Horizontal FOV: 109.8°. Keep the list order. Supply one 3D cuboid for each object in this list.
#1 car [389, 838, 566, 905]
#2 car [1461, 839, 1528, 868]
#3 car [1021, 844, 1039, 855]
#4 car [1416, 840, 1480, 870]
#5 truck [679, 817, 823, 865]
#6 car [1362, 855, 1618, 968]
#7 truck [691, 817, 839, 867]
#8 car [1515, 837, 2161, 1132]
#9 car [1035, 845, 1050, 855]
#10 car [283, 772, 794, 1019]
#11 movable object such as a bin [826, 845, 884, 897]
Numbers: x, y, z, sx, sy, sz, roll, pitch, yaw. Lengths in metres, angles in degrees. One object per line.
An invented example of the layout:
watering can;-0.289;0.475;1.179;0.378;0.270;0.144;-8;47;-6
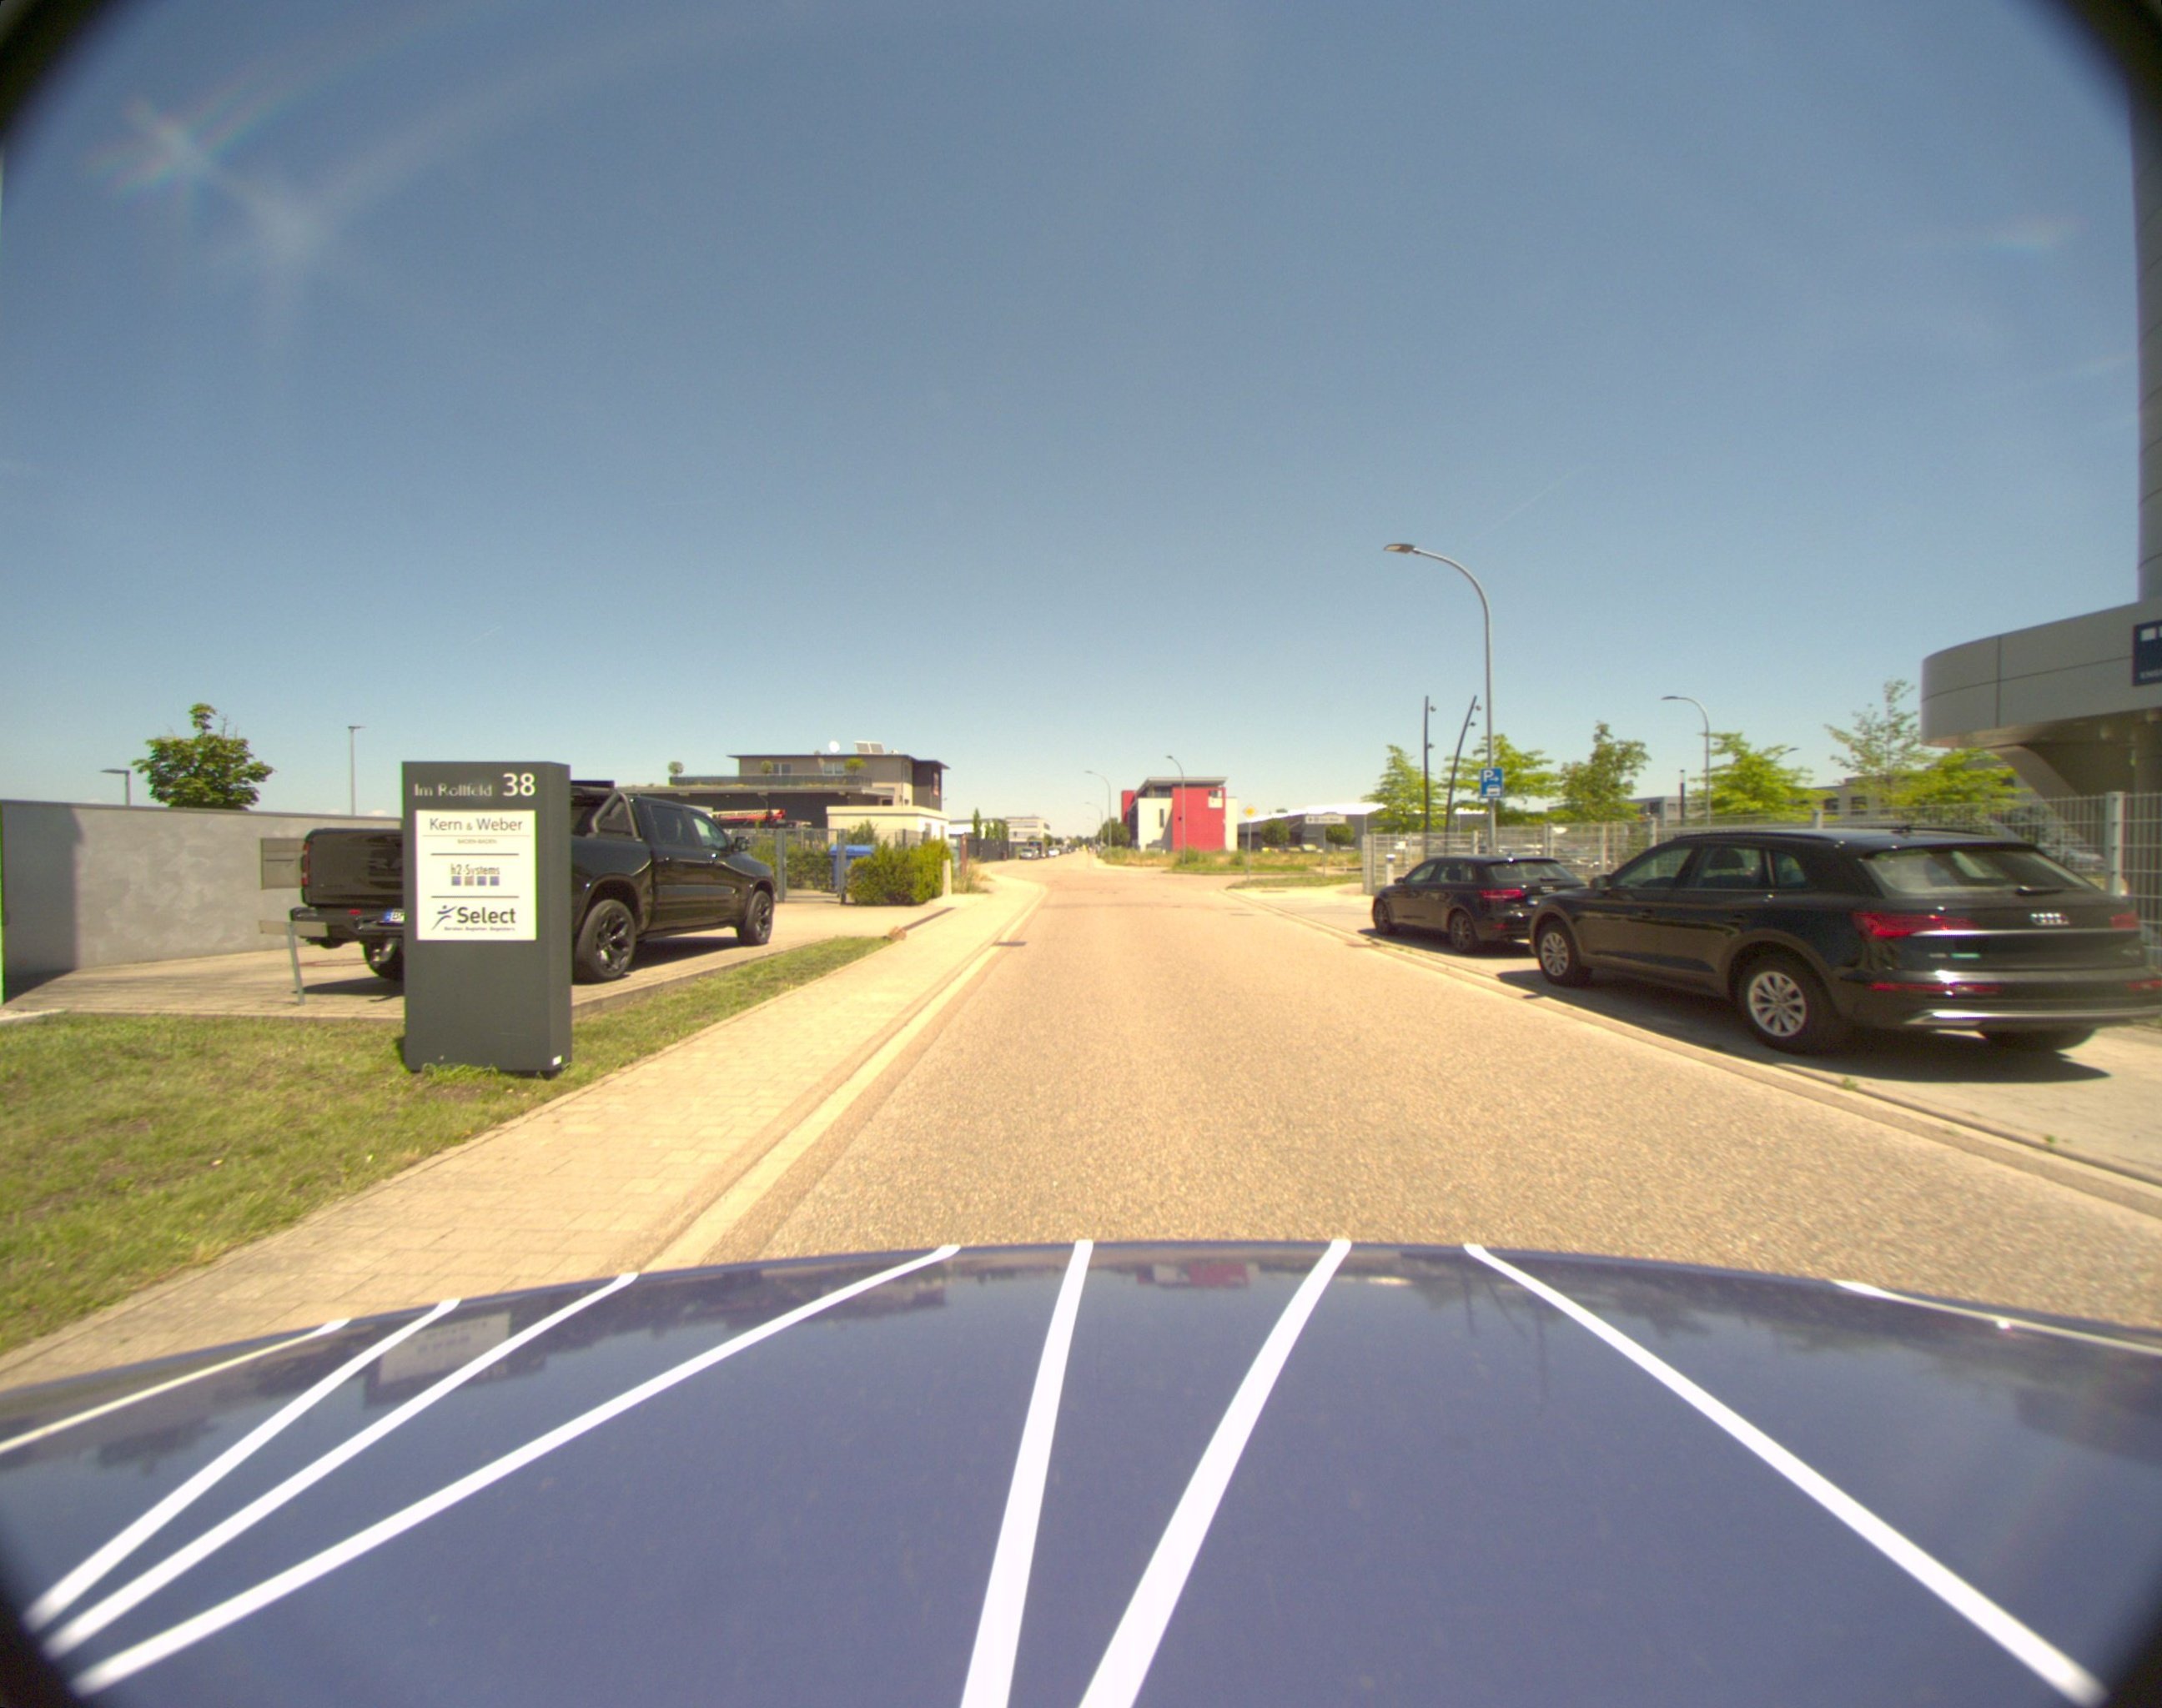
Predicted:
car;-17.367;0.432;22.165;1.859;1.669;3.998;-1;3;0
car;25.574;-0.084;47.163;1.956;1.688;4.308;-1;1;3
car;-6.032;-0.594;90.073;1.828;1.269;3.885;0;1;1
car;22.465;0.018;46.702;1.956;1.688;4.308;-1;1;3
truck;-23.260;-0.900;53.867;8.966;3.159;2.689;-1;1;1
car;6.237;0.772;12.220;1.774;1.458;4.185;-1;0;-1
truck;-20.298;-0.760;49.099;8.354;3.005;2.625;-1;1;1
car;5.992;0.719;6.659;1.774;1.642;4.851;-1;0;2
car;-5.446;-0.572;108.009;1.828;1.269;3.885;0;1;1
car;-5.497;0.393;9.076;1.999;2.001;5.800;0;-1;-1
movable object such as a bin;-6.788;0.492;22.886;1.387;1.514;1.170;0;1;0
